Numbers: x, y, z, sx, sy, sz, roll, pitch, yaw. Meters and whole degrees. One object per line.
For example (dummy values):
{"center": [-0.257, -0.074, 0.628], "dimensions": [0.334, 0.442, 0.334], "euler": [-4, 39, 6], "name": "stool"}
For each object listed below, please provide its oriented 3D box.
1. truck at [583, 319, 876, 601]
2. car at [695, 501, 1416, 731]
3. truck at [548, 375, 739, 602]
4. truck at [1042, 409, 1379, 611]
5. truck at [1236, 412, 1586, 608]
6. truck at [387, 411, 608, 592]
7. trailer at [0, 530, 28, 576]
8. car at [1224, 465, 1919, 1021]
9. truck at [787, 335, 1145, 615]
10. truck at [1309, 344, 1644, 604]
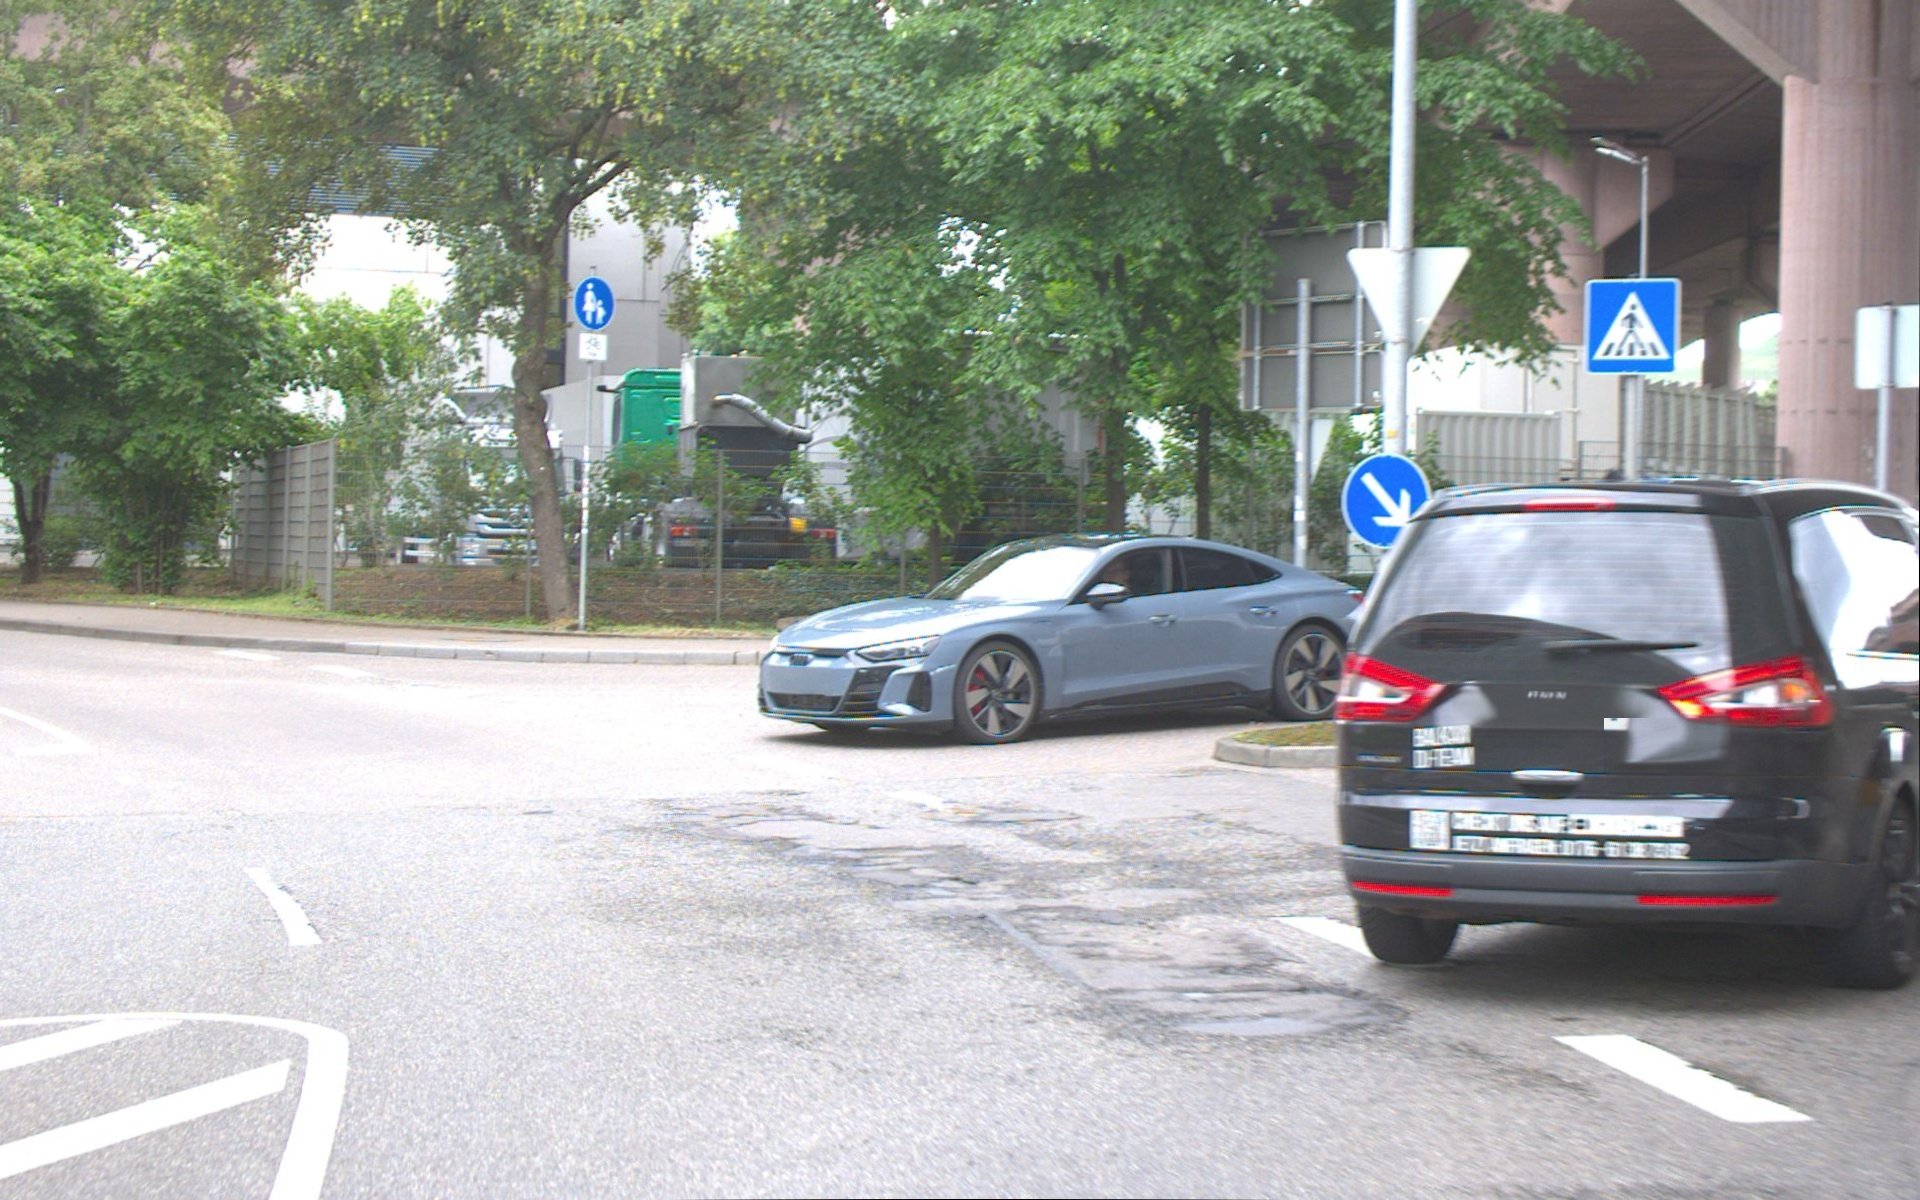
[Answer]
{"center": [-3.607, -2.088, 52.058], "dimensions": [3.065, 3.949, 6.926], "euler": [0, 2, -16], "name": "truck"}
{"center": [0.753, 0.075, 24.738], "dimensions": [4.917, 1.496, 2.173], "euler": [-1, 1, -37], "name": "car"}
{"center": [-7.140, -2.518, 76.459], "dimensions": [3.202, 4.763, 8.051], "euler": [0, 2, -13], "name": "truck"}
{"center": [3.722, -1.438, 52.883], "dimensions": [2.914, 2.889, 6.561], "euler": [-1, 3, -18], "name": "truck"}
{"center": [6.946, -1.470, 54.012], "dimensions": [2.914, 2.889, 6.561], "euler": [-1, 3, -18], "name": "truck"}
{"center": [-9.912, -2.156, 72.873], "dimensions": [3.054, 3.606, 7.918], "euler": [0, 3, -20], "name": "truck"}
{"center": [-18.851, -0.852, 61.288], "dimensions": [2.149, 0.740, 6.293], "euler": [-4, 4, -36], "name": "trailer"}
{"center": [2.812, 0.409, 12.824], "dimensions": [1.996, 1.673, 4.553], "euler": [0, 0, 28], "name": "car"}
{"center": [-0.089, -1.907, 51.665], "dimensions": [3.065, 3.854, 8.051], "euler": [-1, 3, -18], "name": "truck"}
{"center": [8.975, -2.260, 60.959], "dimensions": [3.065, 4.285, 8.051], "euler": [0, 2, -13], "name": "truck"}
